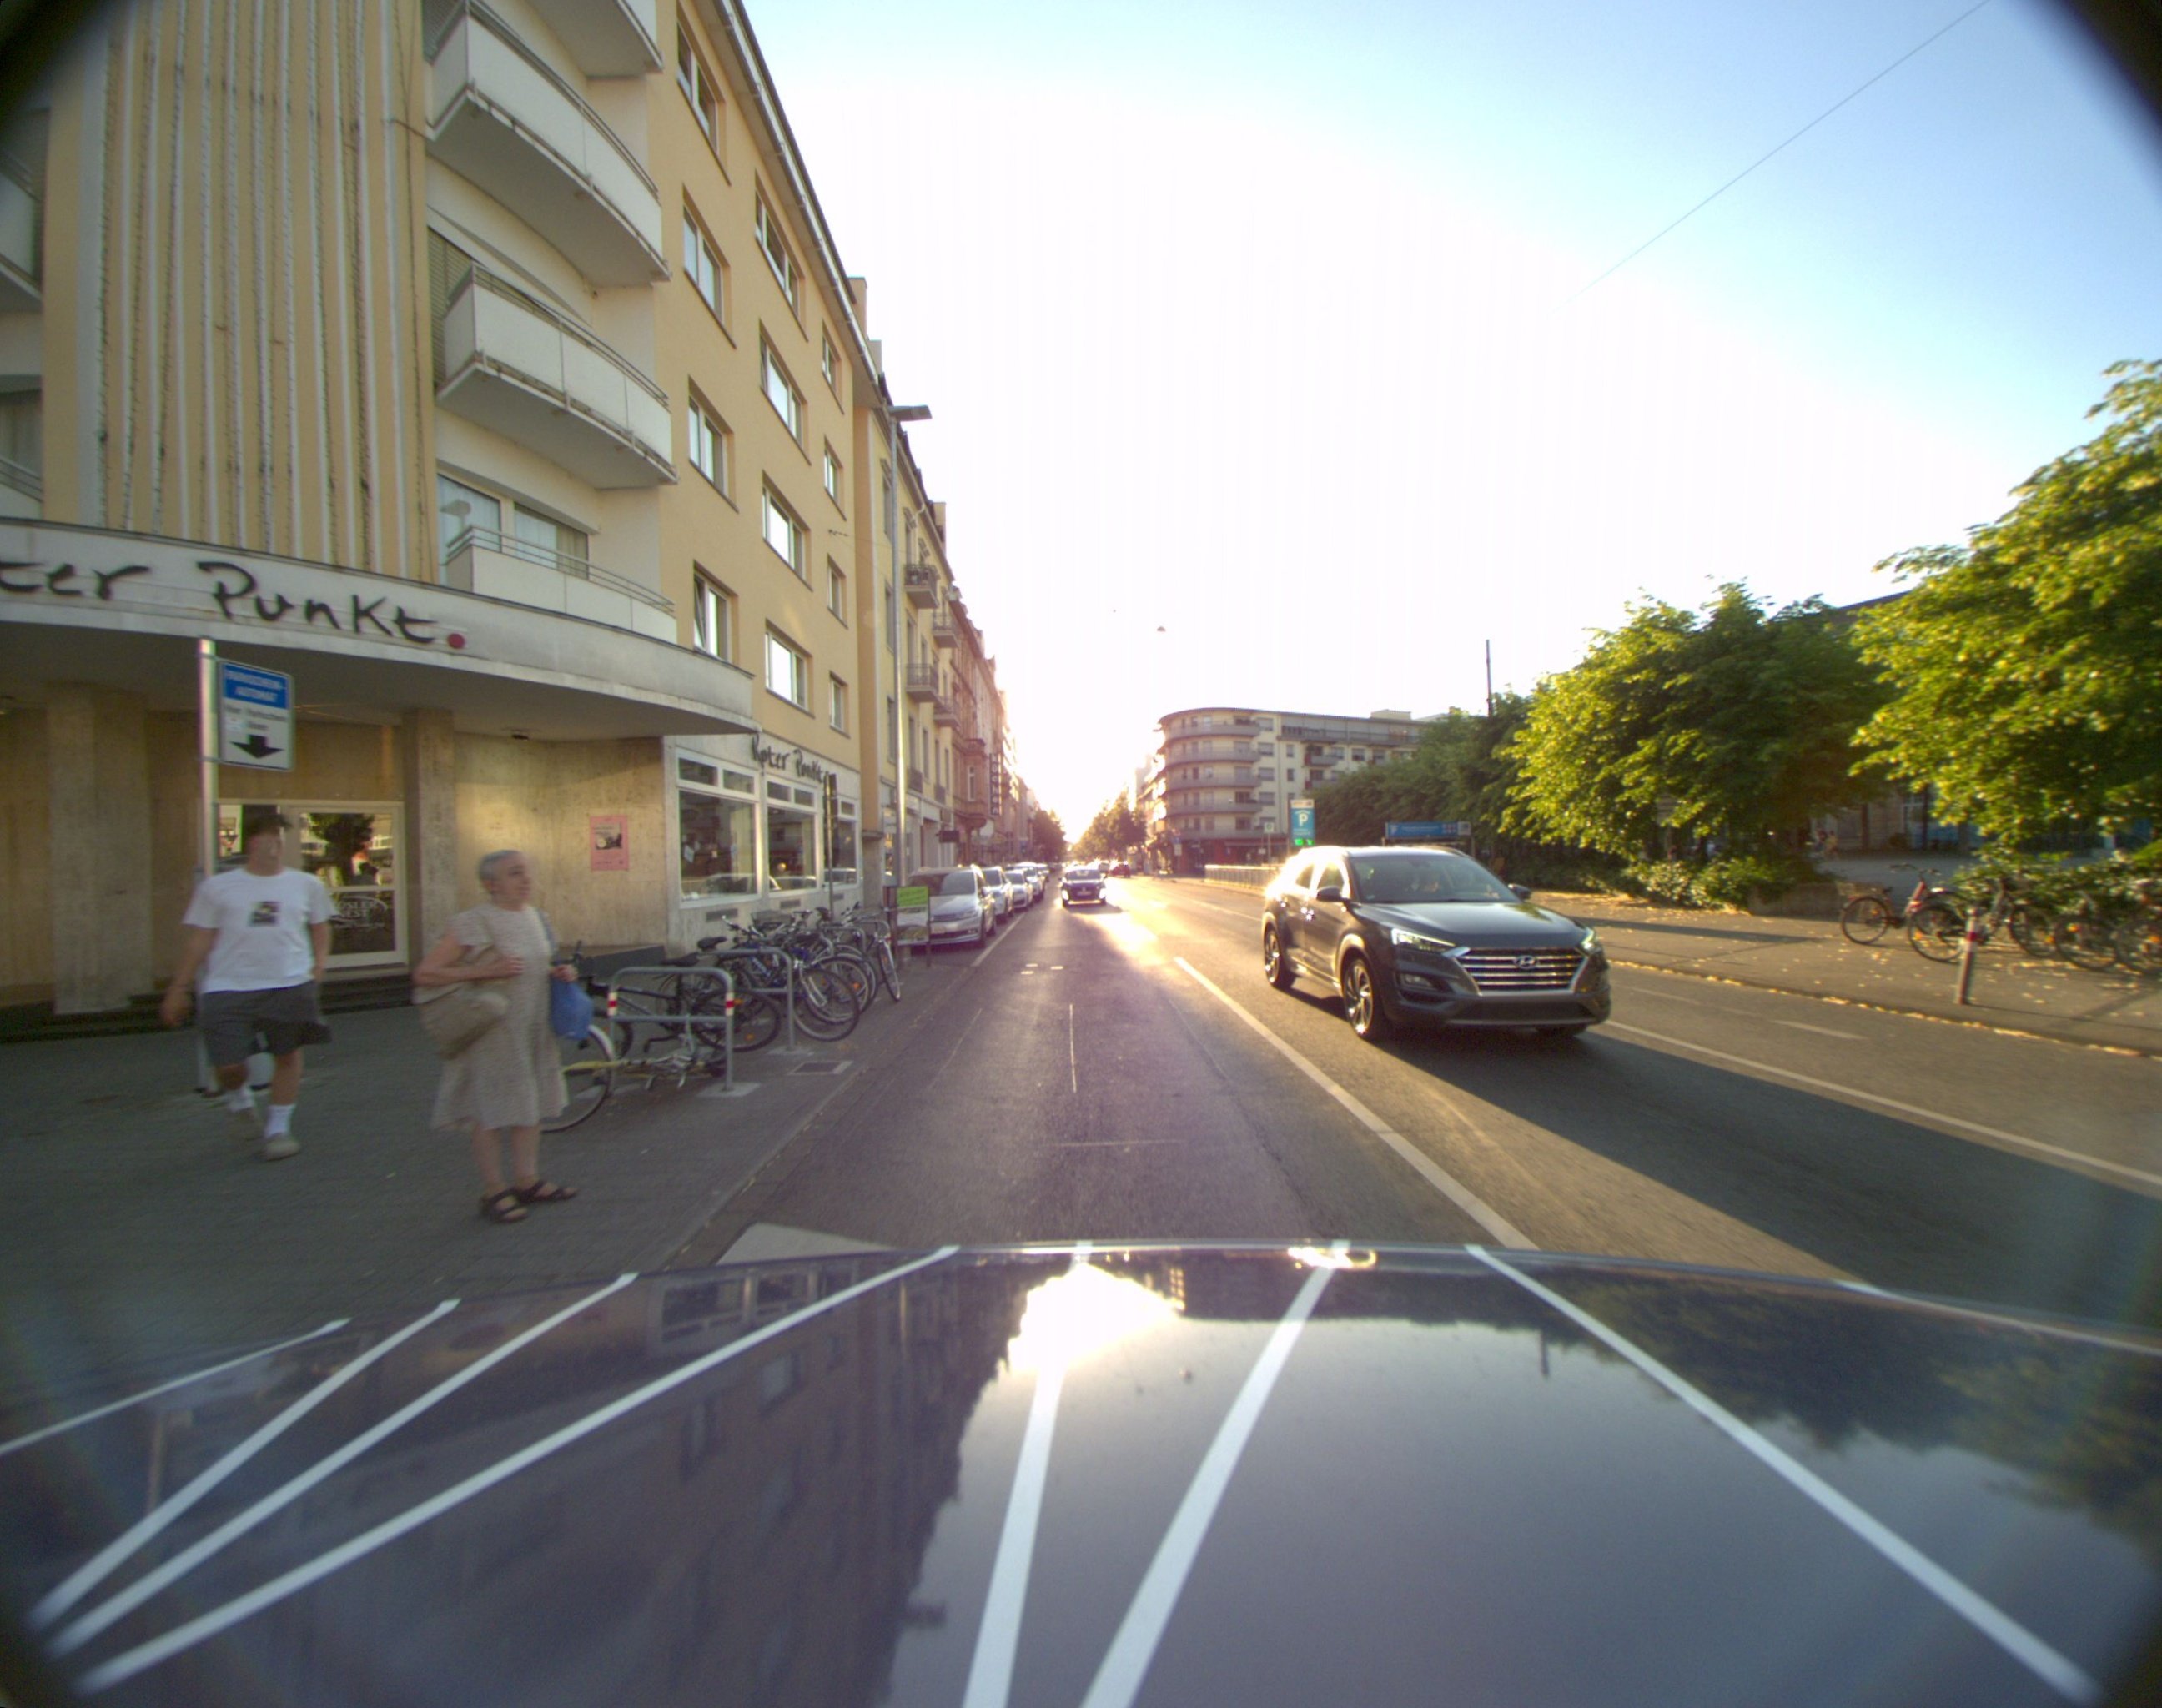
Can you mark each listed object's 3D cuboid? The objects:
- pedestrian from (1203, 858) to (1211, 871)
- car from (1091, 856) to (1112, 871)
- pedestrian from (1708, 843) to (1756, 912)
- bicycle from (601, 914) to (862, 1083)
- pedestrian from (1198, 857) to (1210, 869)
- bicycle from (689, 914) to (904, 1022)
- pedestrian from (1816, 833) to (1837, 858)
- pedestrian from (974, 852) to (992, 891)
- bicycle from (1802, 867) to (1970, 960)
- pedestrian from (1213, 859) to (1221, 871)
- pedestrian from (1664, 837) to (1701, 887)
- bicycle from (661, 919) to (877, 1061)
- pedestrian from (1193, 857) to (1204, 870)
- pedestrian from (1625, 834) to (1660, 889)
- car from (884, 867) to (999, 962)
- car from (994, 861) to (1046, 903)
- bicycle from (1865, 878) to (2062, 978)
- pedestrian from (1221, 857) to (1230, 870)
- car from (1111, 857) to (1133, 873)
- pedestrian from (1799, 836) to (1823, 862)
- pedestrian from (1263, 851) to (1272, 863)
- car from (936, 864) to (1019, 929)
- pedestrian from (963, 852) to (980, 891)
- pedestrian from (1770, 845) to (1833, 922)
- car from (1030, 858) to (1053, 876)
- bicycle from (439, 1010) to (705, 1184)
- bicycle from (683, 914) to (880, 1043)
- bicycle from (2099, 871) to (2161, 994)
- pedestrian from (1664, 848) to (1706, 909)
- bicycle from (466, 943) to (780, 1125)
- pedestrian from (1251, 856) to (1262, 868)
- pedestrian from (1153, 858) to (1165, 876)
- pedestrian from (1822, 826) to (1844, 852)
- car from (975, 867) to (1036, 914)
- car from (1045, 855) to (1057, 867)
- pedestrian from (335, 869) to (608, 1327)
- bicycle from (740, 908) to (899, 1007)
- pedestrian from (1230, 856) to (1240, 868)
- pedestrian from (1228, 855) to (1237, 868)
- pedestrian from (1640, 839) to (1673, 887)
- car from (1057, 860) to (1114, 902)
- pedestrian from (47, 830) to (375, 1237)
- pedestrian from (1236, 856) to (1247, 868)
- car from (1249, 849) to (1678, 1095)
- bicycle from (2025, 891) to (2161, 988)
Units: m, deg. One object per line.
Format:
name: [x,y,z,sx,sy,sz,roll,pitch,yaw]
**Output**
pedestrian: [13.674,1.132,82.496,0.677,1.314,0.611,-2,0,-2]
car: [2.402,1.128,88.454,1.878,1.621,4.176,1,-1,-6]
pedestrian: [19.342,0.687,22.606,0.904,2.002,0.740,-1,0,27]
bicycle: [-2.843,1.163,6.342,1.849,1.232,0.639,-1,0,-6]
pedestrian: [13.002,0.944,80.219,0.890,1.314,0.731,-2,0,-32]
bicycle: [-3.183,1.269,8.706,2.176,1.069,0.805,0,0,-7]
pedestrian: [41.087,-0.448,41.871,0.520,1.368,0.654,-2,0,-15]
pedestrian: [-5.138,0.919,39.817,0.763,2.002,0.851,-2,0,0]
bicycle: [12.047,0.867,11.392,2.031,1.245,0.548,-3,1,-5]
pedestrian: [14.532,1.174,81.178,0.887,1.185,0.733,-2,0,9]
pedestrian: [24.701,0.320,31.203,0.906,2.002,0.738,-2,0,-12]
bicycle: [-2.854,1.228,7.125,1.788,1.166,0.621,0,0,-12]
pedestrian: [12.550,1.013,81.033,0.890,1.314,0.731,-2,0,-27]
pedestrian: [20.728,0.270,28.048,0.904,2.002,0.740,-1,1,27]
car: [-2.770,1.124,16.043,1.702,1.607,4.681,-2,0,-3]
car: [-2.607,1.184,33.496,1.877,1.664,4.430,-2,0,0]
bicycle: [11.367,0.931,9.810,2.031,1.128,0.548,-3,0,-5]
pedestrian: [15.661,1.021,82.234,0.732,1.314,0.888,-2,0,-2]
car: [3.995,1.006,74.090,1.790,1.458,3.956,0,1,-2]
pedestrian: [39.128,-0.260,40.722,0.662,1.368,0.654,-1,0,-15]
pedestrian: [21.265,0.320,86.686,0.731,1.314,0.890,-1,0,38]
car: [-2.936,1.162,22.319,1.821,1.611,4.203,-2,0,0]
pedestrian: [-5.723,0.917,39.673,0.673,2.002,0.851,-2,1,0]
pedestrian: [19.444,0.780,20.511,0.907,2.002,0.855,-2,0,-14]
car: [-3.495,1.130,67.403,1.909,1.421,4.449,-2,0,-2]
bicycle: [-3.030,1.430,4.680,1.008,0.677,1.049,-1,0,-10]
bicycle: [-2.997,1.229,7.755,1.788,1.166,0.621,0,0,-12]
bicycle: [12.138,0.813,8.257,1.590,1.245,0.445,-3,1,-2]
pedestrian: [20.053,0.810,25.235,0.904,2.002,0.740,-1,0,23]
bicycle: [-3.165,1.226,5.437,1.788,1.057,0.718,0,0,-12]
pedestrian: [19.298,0.908,83.575,0.733,1.314,0.887,-2,0,-16]
pedestrian: [6.625,1.097,64.388,0.678,1.509,0.676,-2,0,-43]
pedestrian: [39.241,-0.776,39.646,0.520,1.368,0.654,-2,0,-15]
car: [-2.657,1.278,27.808,1.738,1.448,4.610,-2,0,0]
car: [-5.299,1.238,132.975,1.999,1.806,3.997,-1,2,-4]
pedestrian: [-2.651,0.900,3.313,0.790,1.643,0.782,-1,1,42]
bicycle: [-3.288,1.294,9.705,1.851,1.117,0.594,0,1,-12]
pedestrian: [16.879,0.855,83.443,0.688,1.314,0.819,-2,0,-24]
pedestrian: [16.349,0.809,82.198,0.732,1.314,0.888,-2,0,-3]
pedestrian: [24.488,0.377,32.356,0.907,2.002,0.738,-2,0,-23]
car: [0.266,1.019,30.221,1.907,1.438,4.451,-1,0,5]
pedestrian: [-4.391,0.795,3.947,0.827,1.806,0.869,-1,1,-29]
pedestrian: [17.425,0.872,82.534,0.733,1.314,0.888,-2,0,-14]
car: [3.145,0.820,7.475,1.877,1.679,4.449,0,0,-2]
bicycle: [12.045,0.964,8.782,1.678,0.973,0.548,-3,0,-5]
